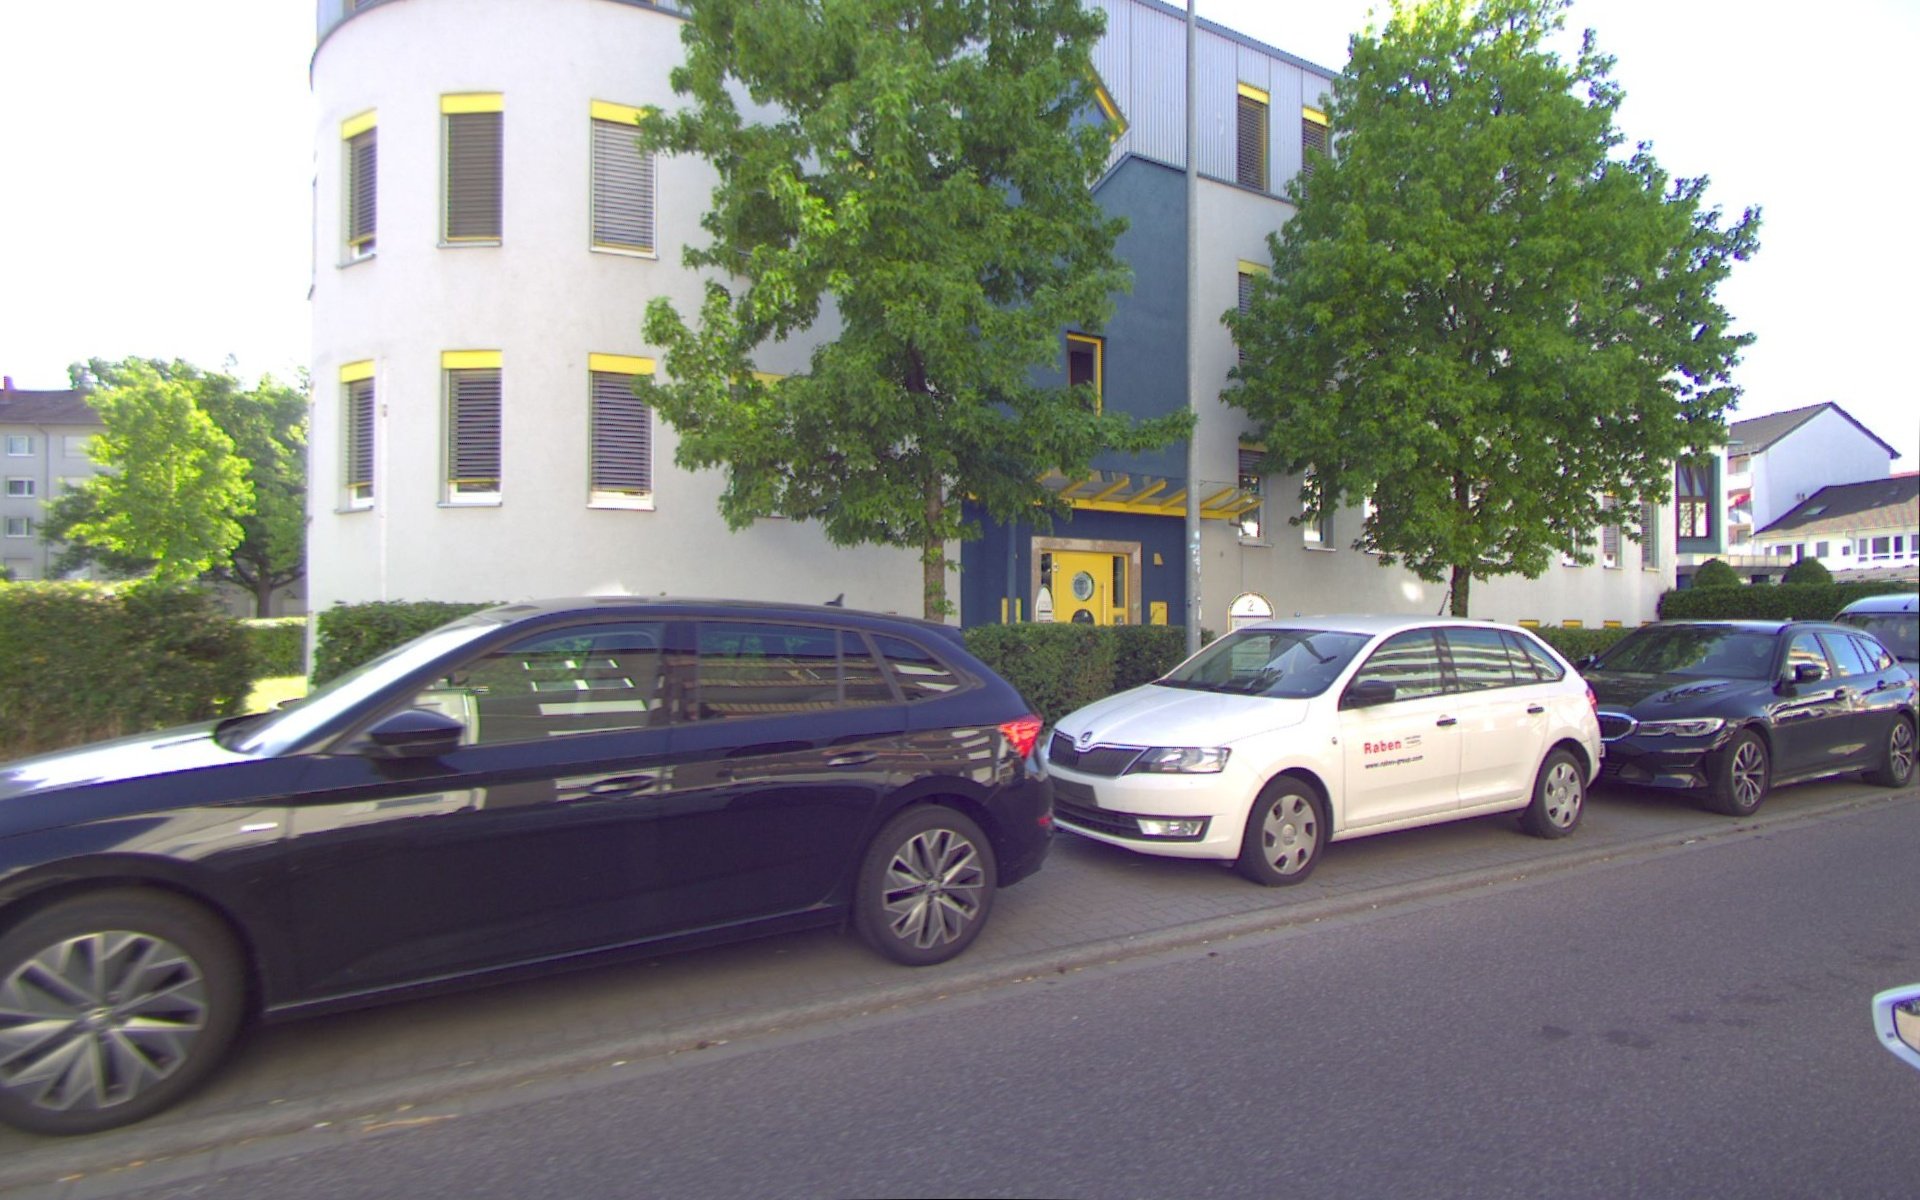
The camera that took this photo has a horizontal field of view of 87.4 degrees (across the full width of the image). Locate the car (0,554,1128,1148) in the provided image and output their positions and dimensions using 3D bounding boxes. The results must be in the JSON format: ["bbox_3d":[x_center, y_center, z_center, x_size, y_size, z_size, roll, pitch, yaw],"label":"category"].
[{"bbox_3d":[-1.572,0.692,4.186,4.331,1.498,1.898,2,-2,-32],"label":"car"}]

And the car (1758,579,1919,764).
[{"bbox_3d":[11.206,0.754,11.699,4.293,1.863,1.678,1,-1,-32],"label":"car"}]

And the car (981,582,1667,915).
[{"bbox_3d":[2.563,0.768,6.712,4.573,1.550,1.898,2,-2,-32],"label":"car"}]

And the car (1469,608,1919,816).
[{"bbox_3d":[6.748,0.839,8.906,4.554,1.458,1.726,1,-2,-29],"label":"car"}]
